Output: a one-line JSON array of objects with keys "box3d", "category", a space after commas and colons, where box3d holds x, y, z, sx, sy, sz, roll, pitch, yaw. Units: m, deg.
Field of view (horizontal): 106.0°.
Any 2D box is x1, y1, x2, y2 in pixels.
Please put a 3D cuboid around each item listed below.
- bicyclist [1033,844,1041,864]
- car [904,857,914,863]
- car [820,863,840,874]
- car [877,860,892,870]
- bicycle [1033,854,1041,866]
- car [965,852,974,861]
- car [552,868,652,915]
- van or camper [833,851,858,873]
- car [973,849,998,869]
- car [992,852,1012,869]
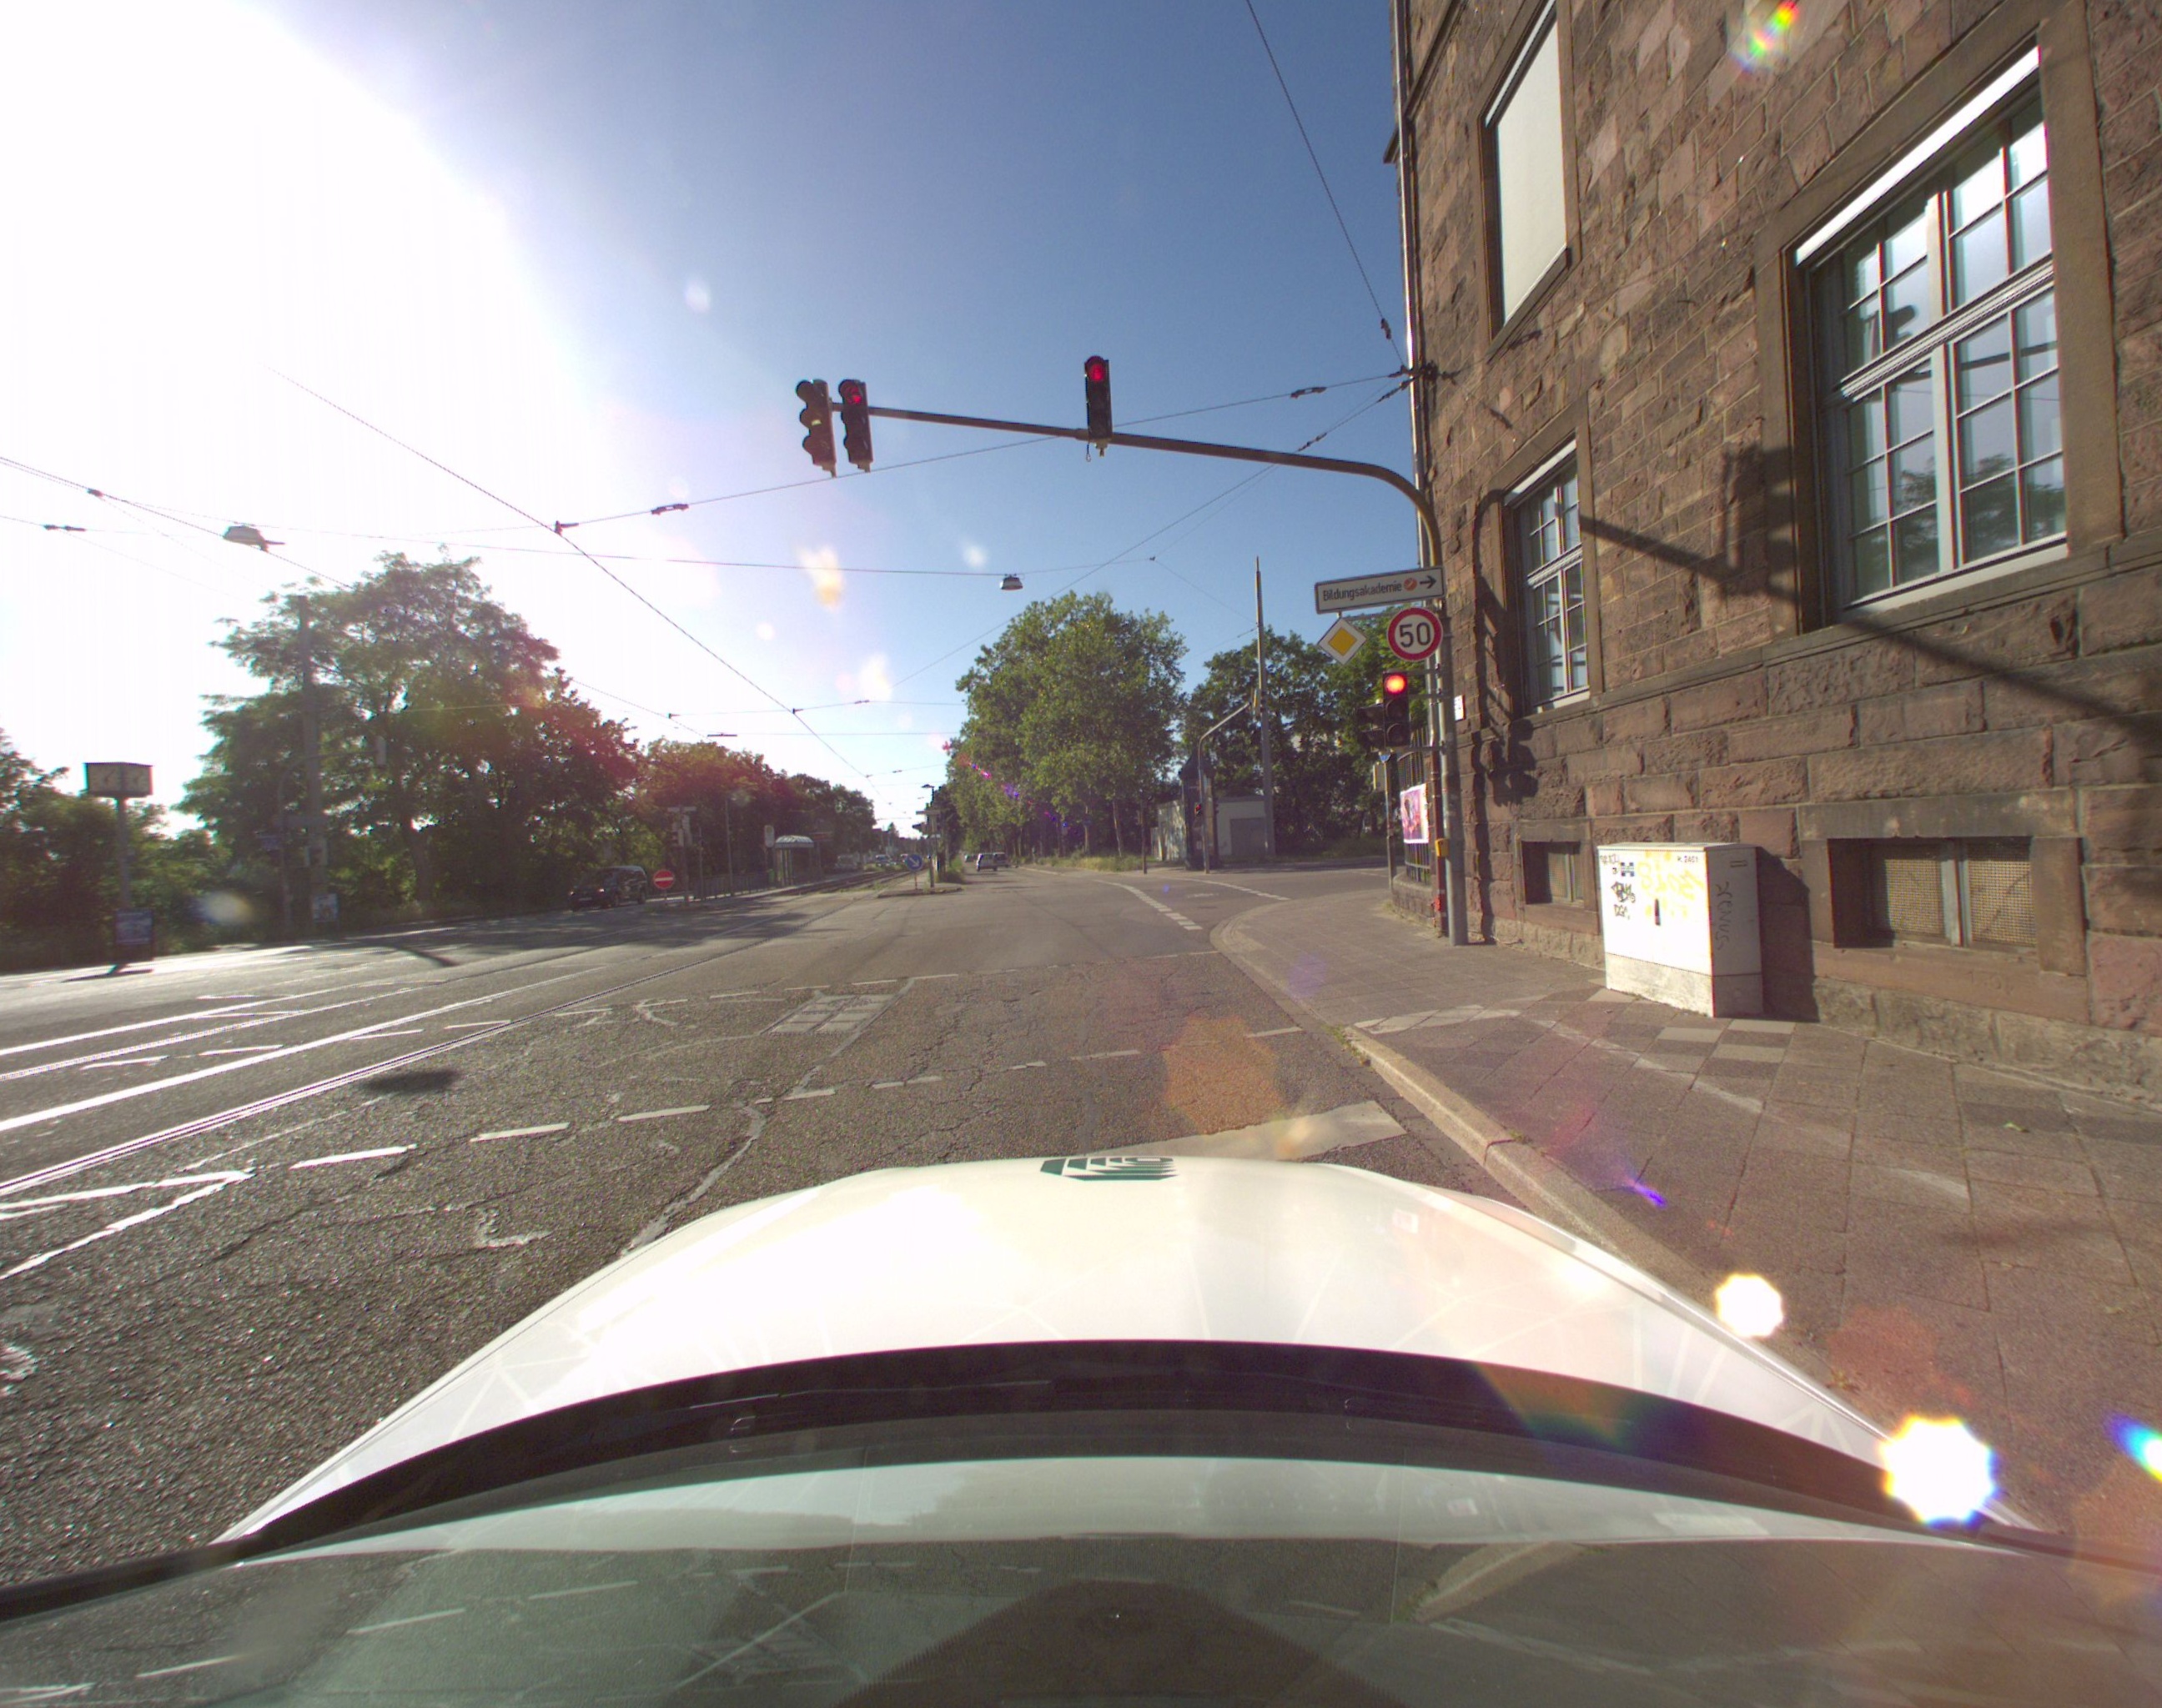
[{"box3d": [-4.016, -0.027, 73.777, 0.534, 1.769, 0.710, -4, 0, -11], "category": "bicyclist"}, {"box3d": [-41.408, 1.469, 195.903, 1.994, 1.469, 4.361, -3, 0, -10], "category": "car"}, {"box3d": [-34.392, 1.993, 111.623, 1.919, 1.266, 3.991, -4, 0, -7], "category": "car"}, {"box3d": [-32.378, 1.790, 134.252, 1.919, 1.567, 3.991, -4, 0, -7], "category": "car"}, {"box3d": [-3.989, 0.531, 73.811, 0.536, 1.066, 1.428, -4, 0, -10], "category": "bicycle"}, {"box3d": [-23.506, 0.506, 171.342, 1.750, 1.604, 3.569, -4, 1, -9], "category": "car"}, {"box3d": [-20.812, 1.562, 35.661, 1.994, 1.767, 5.014, -4, 0, -9], "category": "car"}, {"box3d": [-35.843, 1.254, 124.231, 2.589, 3.106, 6.768, -4, 0, -9], "category": "van or camper"}, {"box3d": [-7.777, 0.419, 66.009, 1.867, 1.486, 3.545, -3, 0, -8], "category": "car"}, {"box3d": [-7.950, 0.653, 82.112, 1.750, 1.604, 3.738, -1, 0, -9], "category": "car"}]
